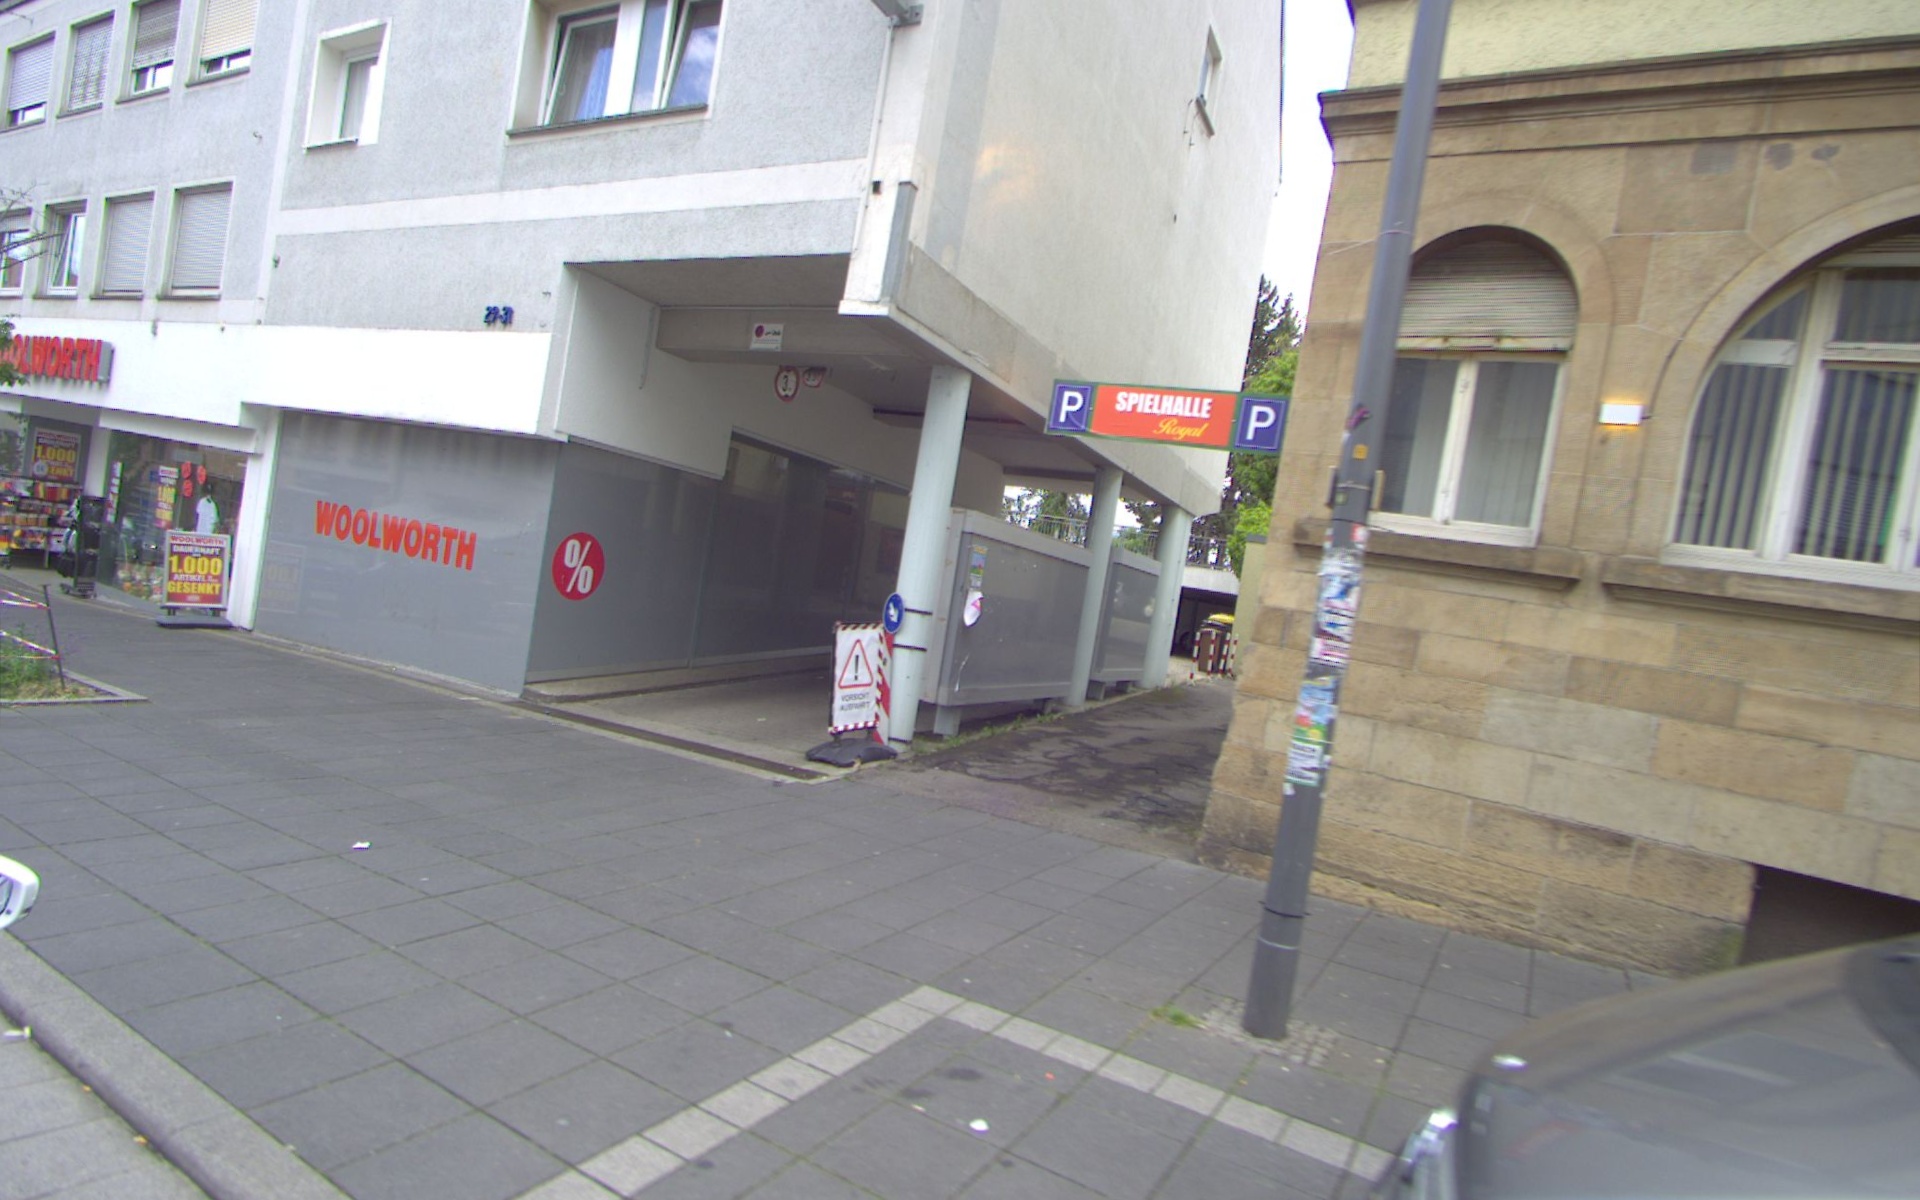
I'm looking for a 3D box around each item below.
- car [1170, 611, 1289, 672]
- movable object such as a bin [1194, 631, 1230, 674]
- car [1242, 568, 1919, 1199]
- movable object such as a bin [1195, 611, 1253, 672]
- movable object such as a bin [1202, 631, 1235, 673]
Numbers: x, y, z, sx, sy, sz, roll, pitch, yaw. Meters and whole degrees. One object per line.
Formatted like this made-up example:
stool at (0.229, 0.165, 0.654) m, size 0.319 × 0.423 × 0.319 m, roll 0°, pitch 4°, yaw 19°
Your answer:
car at (10.756, 1.594, 40.153) m, size 4.160 × 1.723 × 1.811 m, roll 9°, pitch 4°, yaw 23°
movable object such as a bin at (5.447, 1.129, 21.721) m, size 0.537 × 0.872 × 0.511 m, roll 7°, pitch 2°, yaw 31°
car at (2.337, 1.003, 0.854) m, size 3.739 × 1.628 × 1.748 m, roll 7°, pitch 1°, yaw 34°
movable object such as a bin at (6.346, 1.002, 24.141) m, size 1.014 × 1.330 × 0.899 m, roll 7°, pitch 2°, yaw 30°
movable object such as a bin at (5.716, 1.149, 22.251) m, size 0.537 × 0.872 × 0.431 m, roll 7°, pitch 2°, yaw 31°
